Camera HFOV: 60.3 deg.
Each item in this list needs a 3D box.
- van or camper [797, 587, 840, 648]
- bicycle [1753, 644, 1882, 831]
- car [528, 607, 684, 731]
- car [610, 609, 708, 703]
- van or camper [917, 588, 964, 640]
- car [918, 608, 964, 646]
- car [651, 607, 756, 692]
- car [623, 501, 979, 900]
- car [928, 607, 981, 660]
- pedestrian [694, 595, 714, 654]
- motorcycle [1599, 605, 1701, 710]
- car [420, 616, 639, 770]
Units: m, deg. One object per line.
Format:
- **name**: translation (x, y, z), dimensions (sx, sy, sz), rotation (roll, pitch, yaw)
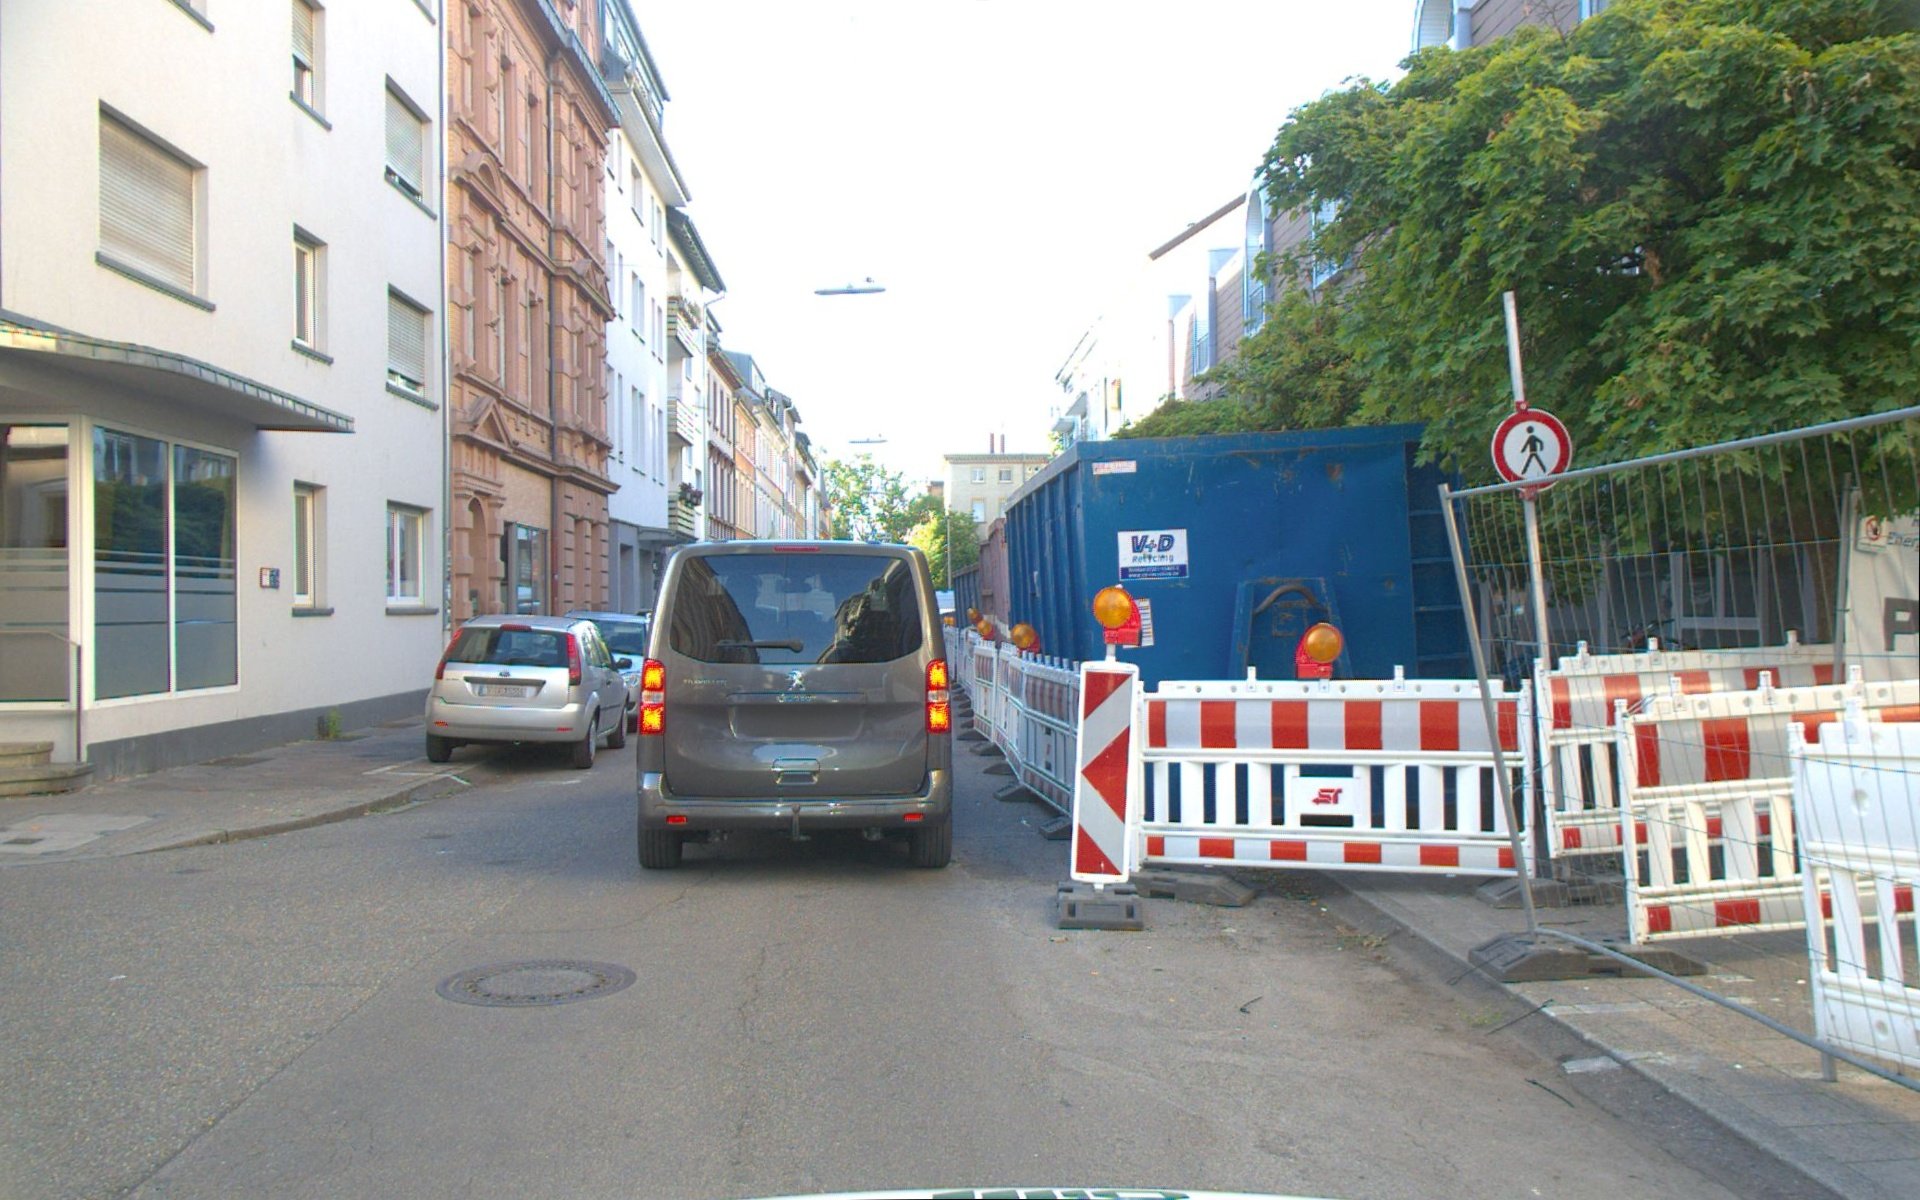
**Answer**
- **van or camper**: translation (-6.716, 0.830, 78.886), dimensions (1.911, 2.696, 7.134), rotation (-2, 0, -4)
- **bicycle**: translation (5.466, 0.837, 10.599), dimensions (0.555, 1.088, 1.366), rotation (1, -1, 20)
- **car**: translation (-4.849, 0.897, 23.064), dimensions (1.524, 1.535, 3.595), rotation (2, 0, -3)
- **car**: translation (-5.365, 0.968, 29.720), dimensions (1.368, 1.616, 2.792), rotation (0, 0, -3)
- **van or camper**: translation (-1.083, 0.767, 89.206), dimensions (2.058, 2.648, 7.506), rotation (-1, 0, -4)
- **car**: translation (-0.876, 1.193, 73.612), dimensions (1.689, 1.640, 4.583), rotation (0, -1, -5)
- **car**: translation (-5.170, 0.953, 33.766), dimensions (1.705, 1.627, 4.012), rotation (0, 0, -3)
- **car**: translation (-0.952, 0.534, 10.828), dimensions (1.821, 2.049, 3.997), rotation (-2, 0, -3)
- **car**: translation (-0.201, 1.113, 56.390), dimensions (1.713, 1.713, 4.525), rotation (0, 0, 0)
- **pedestrian**: translation (-7.359, 0.709, 47.556), dimensions (0.485, 1.667, 0.665), rotation (1, -1, -3)
- **motorcycle**: translation (8.642, 0.704, 20.817), dimensions (0.851, 1.244, 2.458), rotation (-1, -1, 15)
- **car**: translation (-4.445, 0.900, 17.552), dimensions (1.600, 1.455, 3.552), rotation (0, 0, -4)
